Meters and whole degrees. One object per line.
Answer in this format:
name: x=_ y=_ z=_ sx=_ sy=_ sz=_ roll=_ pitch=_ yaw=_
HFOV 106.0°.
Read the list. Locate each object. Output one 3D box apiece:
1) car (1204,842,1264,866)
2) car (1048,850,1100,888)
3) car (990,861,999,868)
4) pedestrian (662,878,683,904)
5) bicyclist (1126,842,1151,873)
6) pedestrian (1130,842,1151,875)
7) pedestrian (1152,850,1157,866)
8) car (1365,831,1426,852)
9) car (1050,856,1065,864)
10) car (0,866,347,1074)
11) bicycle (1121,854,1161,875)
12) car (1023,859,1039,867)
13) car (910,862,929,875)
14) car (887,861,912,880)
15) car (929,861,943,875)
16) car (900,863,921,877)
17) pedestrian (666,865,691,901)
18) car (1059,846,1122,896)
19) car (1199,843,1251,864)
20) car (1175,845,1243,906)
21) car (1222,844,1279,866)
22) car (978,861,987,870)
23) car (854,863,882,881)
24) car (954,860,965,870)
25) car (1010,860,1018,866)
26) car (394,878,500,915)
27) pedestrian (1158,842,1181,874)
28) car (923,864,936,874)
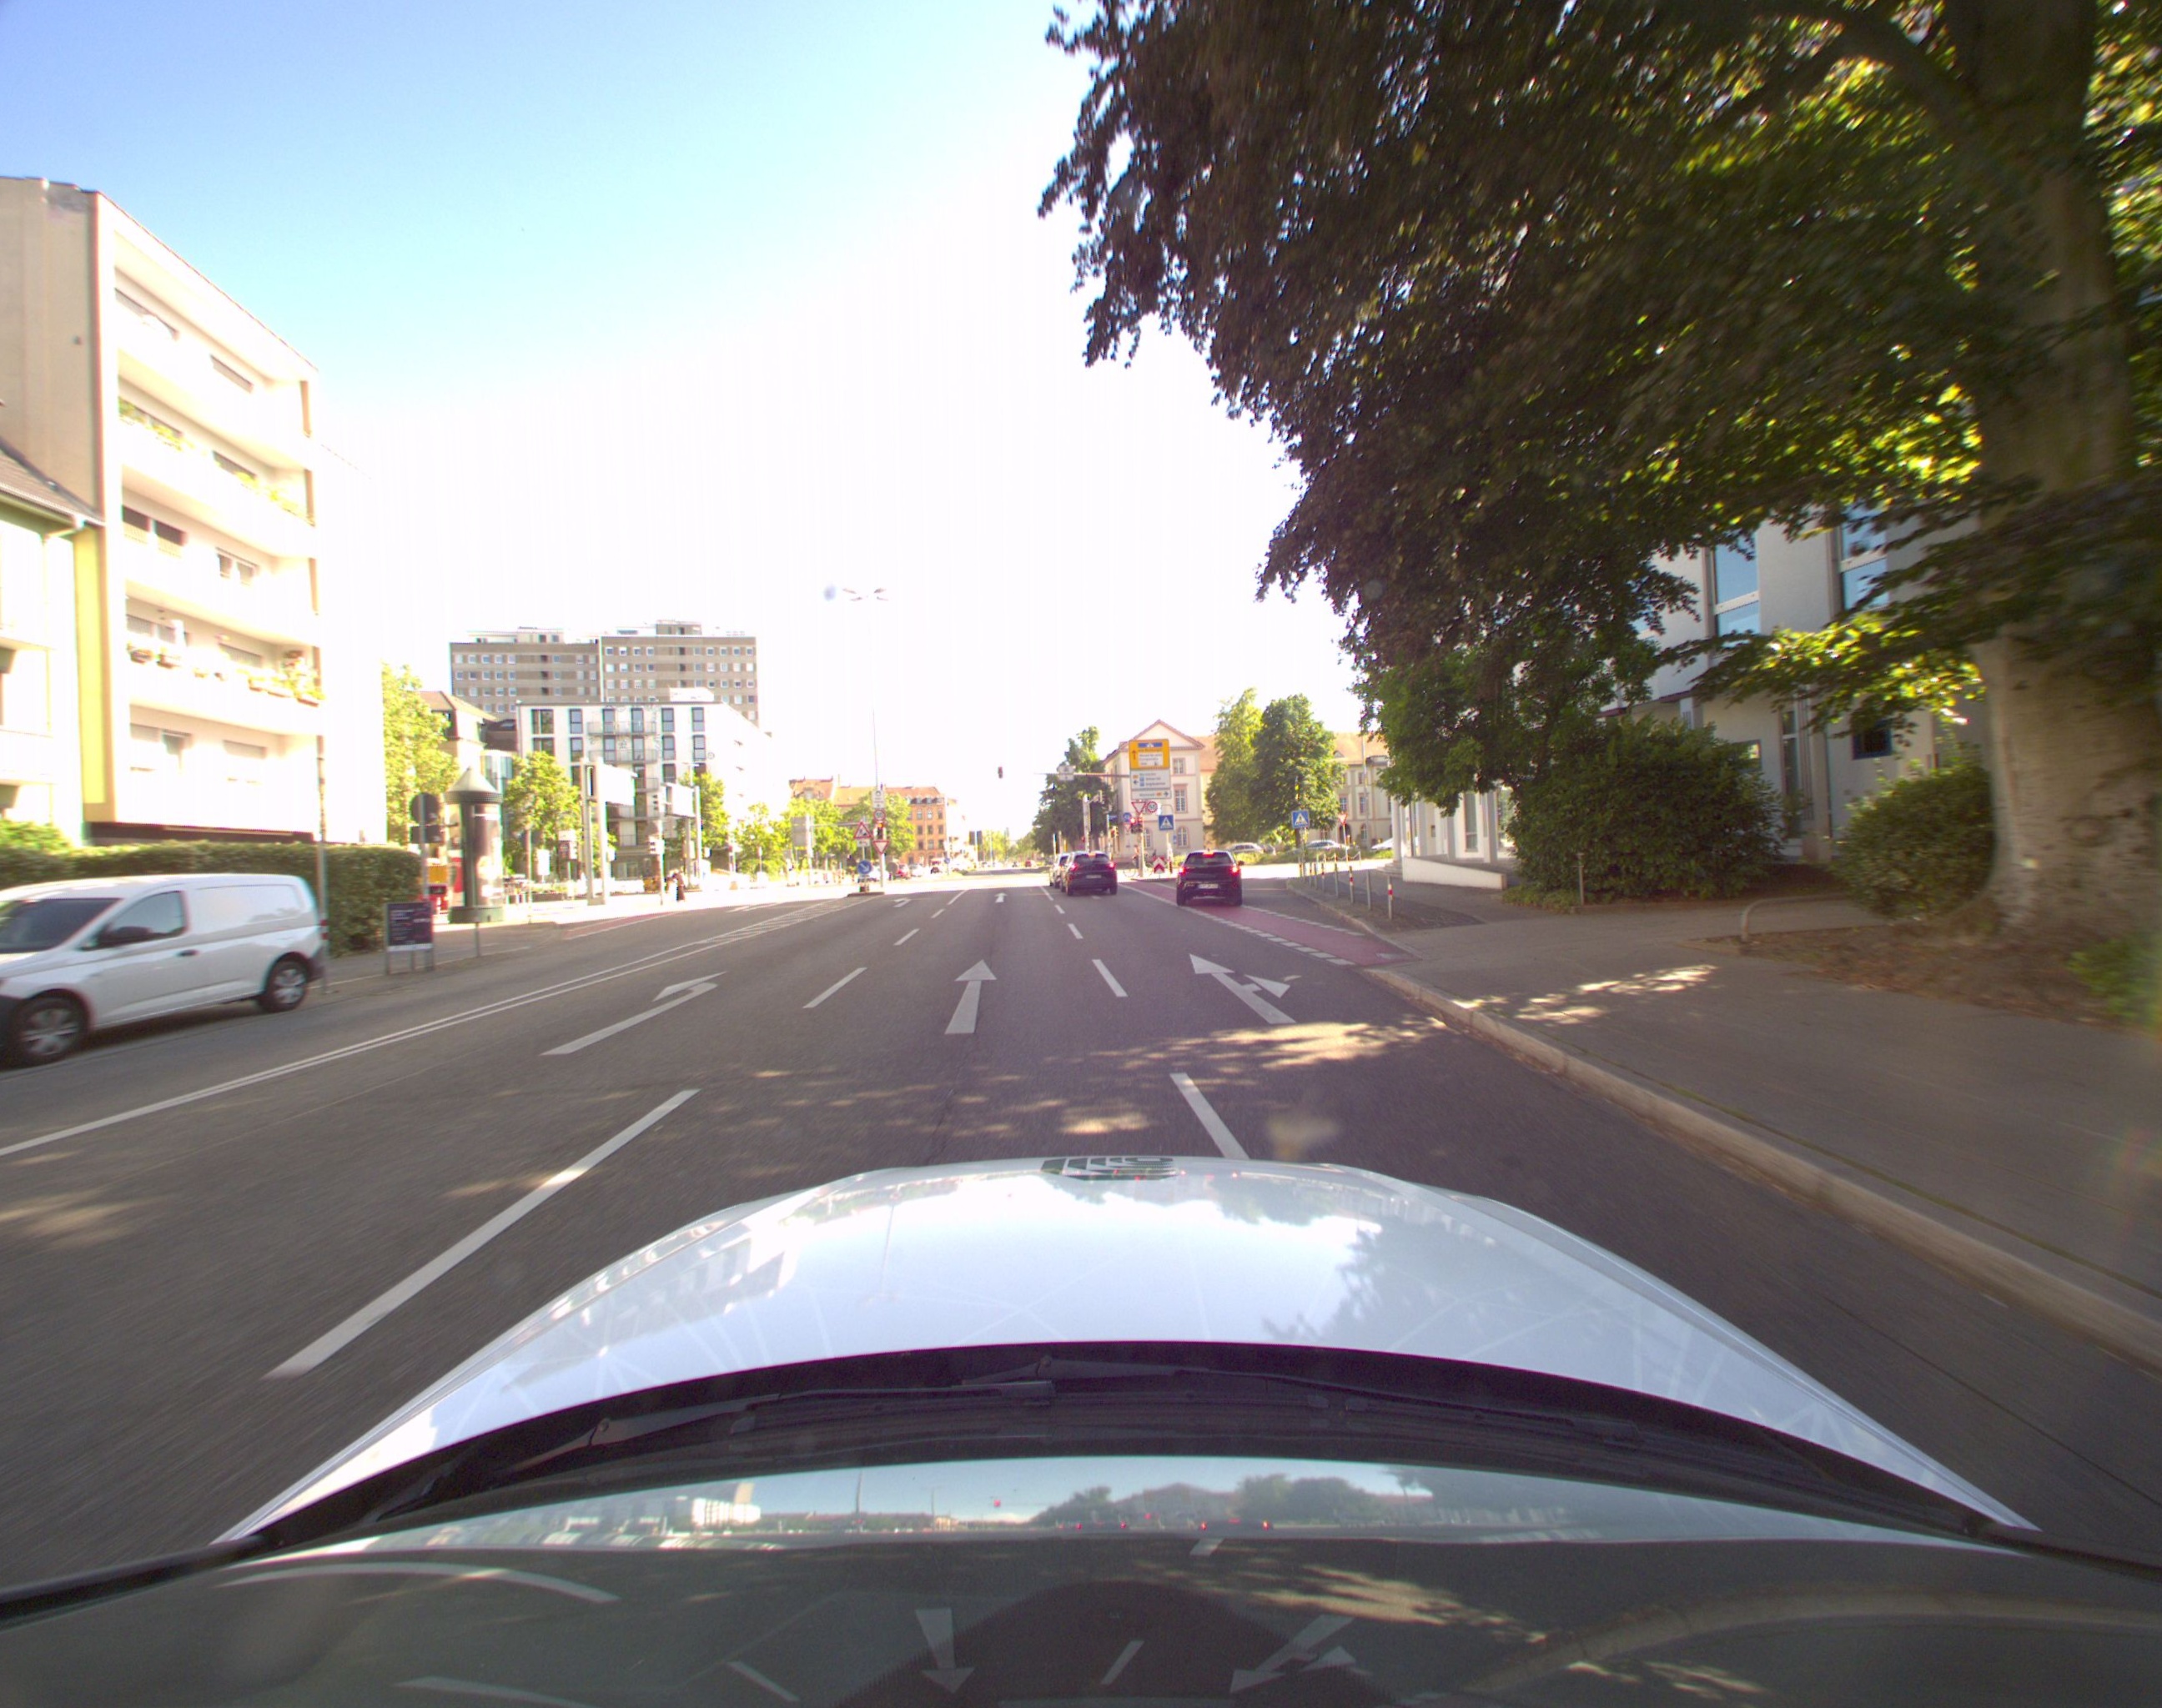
car: x=11.656 y=-0.004 z=62.102 sx=4.118 sy=1.601 sz=1.814 roll=-3 pitch=0 yaw=-13
car: x=-0.365 y=0.595 z=34.826 sx=1.827 sy=1.452 sz=3.980 roll=-3 pitch=0 yaw=-5
car: x=-20.316 y=2.471 z=191.503 sx=1.808 sy=1.448 sz=3.992 roll=-3 pitch=0 yaw=-6
pedestrian: x=-19.006 y=1.729 z=37.889 sx=0.667 sy=1.166 sz=0.668 roll=-3 pitch=0 yaw=-39
bicyclist: x=3.149 y=0.204 z=44.527 sx=1.166 sy=1.633 sz=0.726 roll=-2 pitch=0 yaw=-14
pedestrian: x=3.074 y=0.230 z=42.171 sx=0.826 sy=1.702 sz=0.914 roll=-2 pitch=0 yaw=-11
pedestrian: x=7.661 y=0.432 z=84.502 sx=0.439 sy=1.615 sz=0.467 roll=0 pitch=-1 yaw=0
car: x=25.274 y=-0.998 z=65.462 sx=4.178 sy=1.508 sz=1.814 roll=-3 pitch=0 yaw=-13
car: x=-5.496 y=1.296 z=192.645 sx=2.158 sy=1.698 sz=4.019 roll=-3 pitch=0 yaw=18
car: x=-10.963 y=1.118 z=9.073 sx=1.817 sy=1.834 sz=4.549 roll=-2 pitch=0 yaw=-8
bicycle: x=3.280 y=0.554 z=44.620 sx=2.035 sy=1.061 sz=0.619 roll=-2 pitch=0 yaw=-15
car: x=-10.907 y=1.972 z=177.922 sx=1.794 sy=1.407 sz=4.023 roll=-3 pitch=0 yaw=25
car: x=-20.317 y=1.783 z=102.708 sx=1.872 sy=1.448 sz=3.992 roll=-3 pitch=0 yaw=-6
car: x=-17.279 y=1.565 z=77.728 sx=1.788 sy=1.617 sz=3.992 roll=-3 pitch=0 yaw=-5
car: x=-23.370 y=2.195 z=131.586 sx=1.808 sy=2.134 sz=3.992 roll=-3 pitch=0 yaw=-6
car: x=-19.639 y=1.789 z=93.914 sx=1.872 sy=1.448 sz=3.992 roll=-3 pitch=0 yaw=-6
pedestrian: x=-19.267 y=1.393 z=38.990 sx=0.668 sy=1.649 sz=0.837 roll=-3 pitch=0 yaw=40
car: x=0.273 y=0.571 z=29.313 sx=1.827 sy=1.578 sz=3.832 roll=-3 pitch=0 yaw=-5
car: x=12.781 y=-0.046 z=72.258 sx=4.118 sy=1.601 sz=1.814 roll=-3 pitch=0 yaw=-13
car: x=3.629 y=0.567 z=23.318 sx=1.735 sy=1.573 sz=3.566 roll=-1 pitch=0 yaw=8
car: x=13.777 y=0.089 z=66.125 sx=4.118 sy=1.601 sz=1.814 roll=-3 pitch=0 yaw=-13
car: x=-20.725 y=2.450 z=171.074 sx=1.808 sy=1.634 sz=3.992 roll=-3 pitch=0 yaw=-6
car: x=-20.633 y=1.741 z=79.029 sx=1.872 sy=1.617 sz=3.992 roll=-3 pitch=0 yaw=-6
car: x=-22.481 y=1.997 z=151.196 sx=1.808 sy=1.634 sz=3.992 roll=-3 pitch=0 yaw=-6
car: x=-17.070 y=2.269 z=207.618 sx=1.808 sy=1.448 sz=3.992 roll=-3 pitch=0 yaw=-6
car: x=-31.605 y=2.115 z=40.713 sx=3.639 sy=1.515 sz=1.840 roll=-4 pitch=0 yaw=-10
pedestrian: x=4.695 y=0.214 z=43.123 sx=1.038 sy=1.659 sz=0.783 roll=-3 pitch=0 yaw=-2
car: x=-25.477 y=2.532 z=137.110 sx=1.872 sy=1.448 sz=3.992 roll=-3 pitch=0 yaw=-6
